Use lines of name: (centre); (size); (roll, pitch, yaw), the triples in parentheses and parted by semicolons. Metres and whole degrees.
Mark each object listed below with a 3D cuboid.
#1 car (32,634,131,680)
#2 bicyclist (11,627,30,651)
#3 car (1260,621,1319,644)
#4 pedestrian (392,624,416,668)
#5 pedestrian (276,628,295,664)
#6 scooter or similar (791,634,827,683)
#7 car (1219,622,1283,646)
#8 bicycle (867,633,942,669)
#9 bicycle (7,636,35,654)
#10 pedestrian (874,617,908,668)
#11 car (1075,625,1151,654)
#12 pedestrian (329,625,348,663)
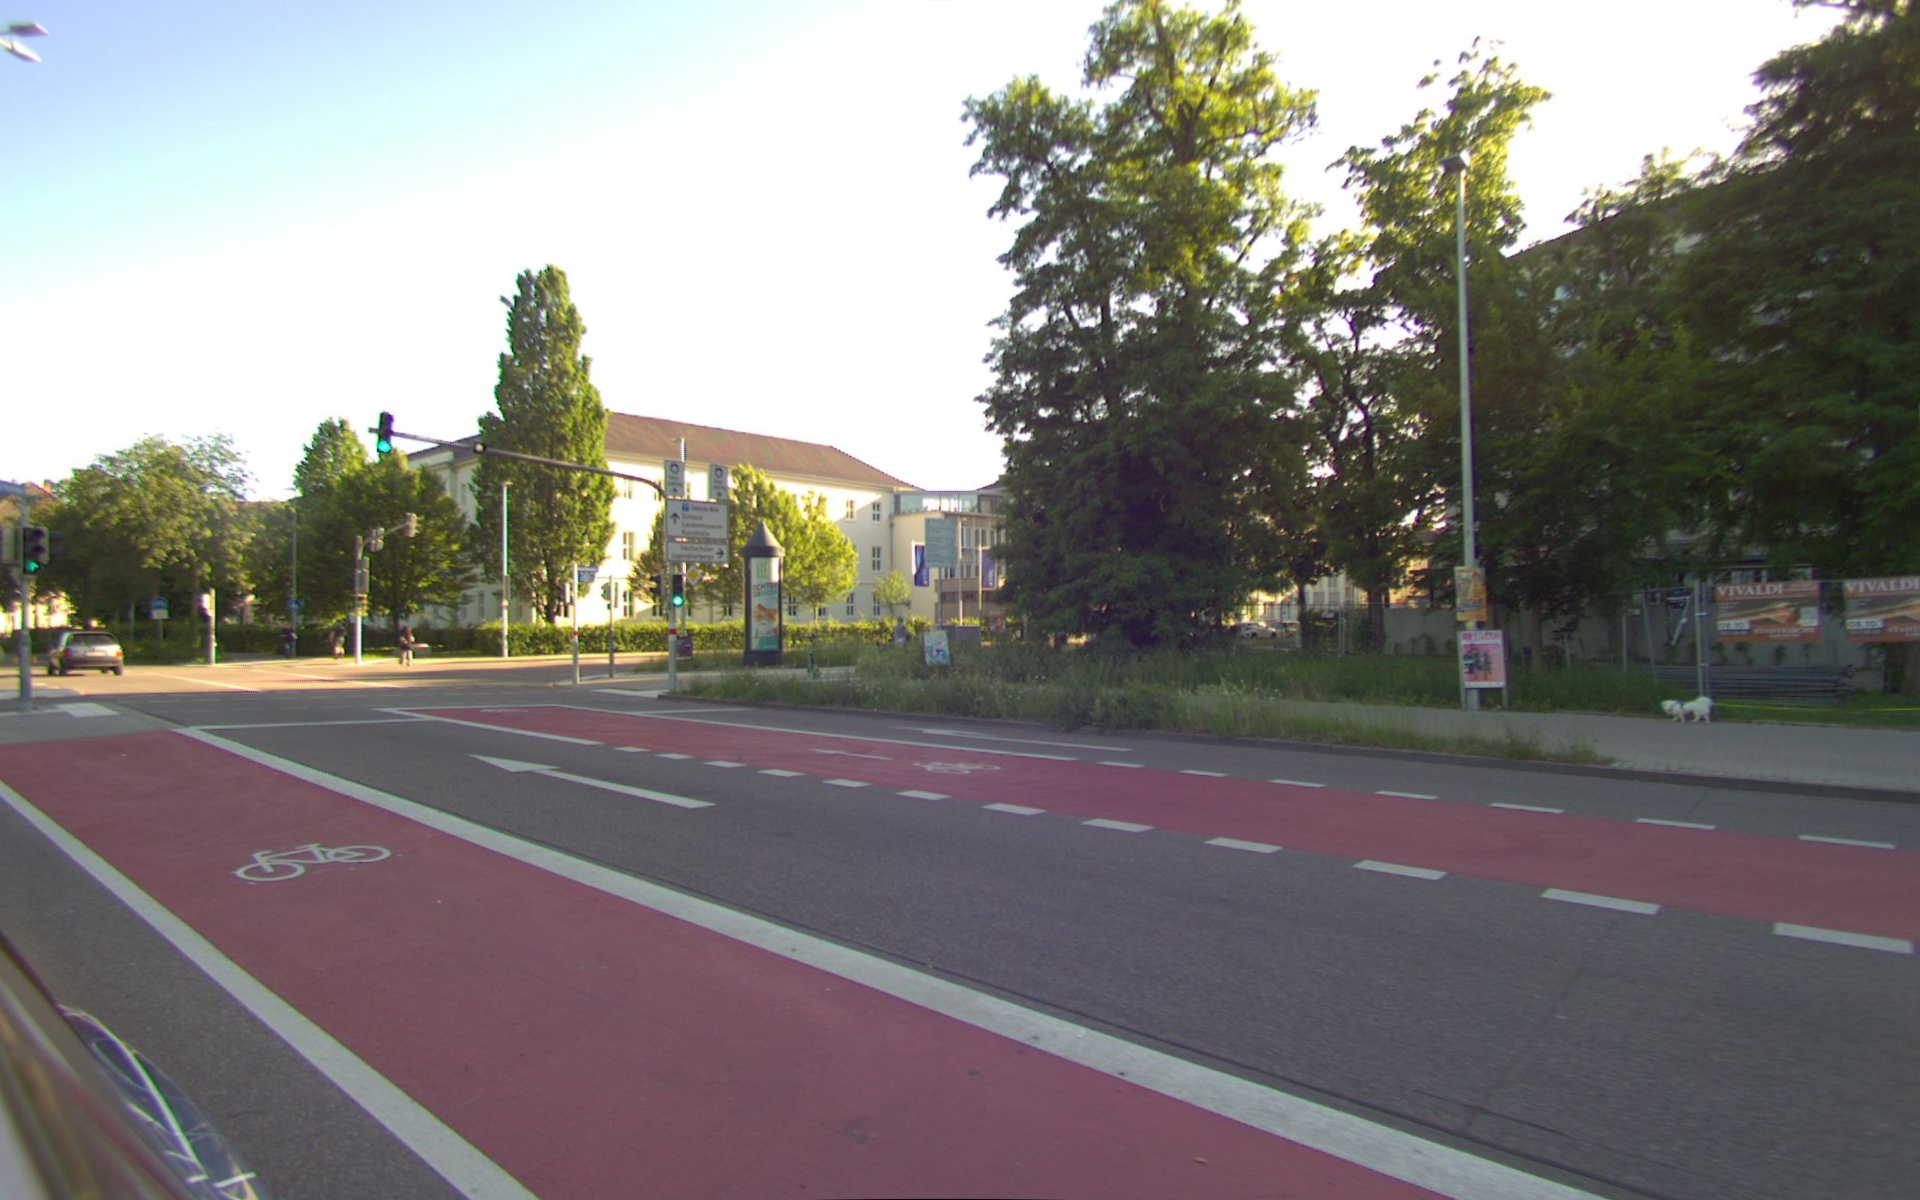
car: (-29.174, 1.858, 33.556); (4.549, 1.432, 1.694); (-2, -2, 39)
bicyclist: (-60.401, 2.507, 65.047); (0.754, 1.477, 0.691); (-2, -2, 28)
car: (23.464, 2.320, 72.015); (4.193, 1.551, 2.240); (1, -2, -42)
pedestrian: (-23.277, 1.921, 42.336); (0.734, 1.830, 0.727); (1, -2, -41)
pedestrian: (-32.835, 2.233, 49.288); (0.681, 1.694, 0.681); (1, -2, -41)
scooter or similar: (-4.241, 1.623, 28.289); (0.683, 1.304, 1.501); (0, -2, -20)
car: (19.765, 2.312, 68.681); (4.193, 1.551, 2.240); (1, -2, -42)
bicycle: (-1.862, 1.710, 34.282); (0.980, 1.144, 2.541); (-2, -2, 44)
bicycle: (-60.282, 2.907, 64.964); (2.180, 1.125, 0.691); (-1, -2, 29)
pedestrian: (-2.337, 1.438, 34.457); (0.643, 1.709, 0.966); (-2, -2, 45)
car: (8.748, 2.246, 57.738); (4.193, 1.551, 2.071); (1, -2, -42)
pedestrian: (-29.895, 2.103, 48.670); (0.681, 1.830, 0.681); (1, -2, -41)
